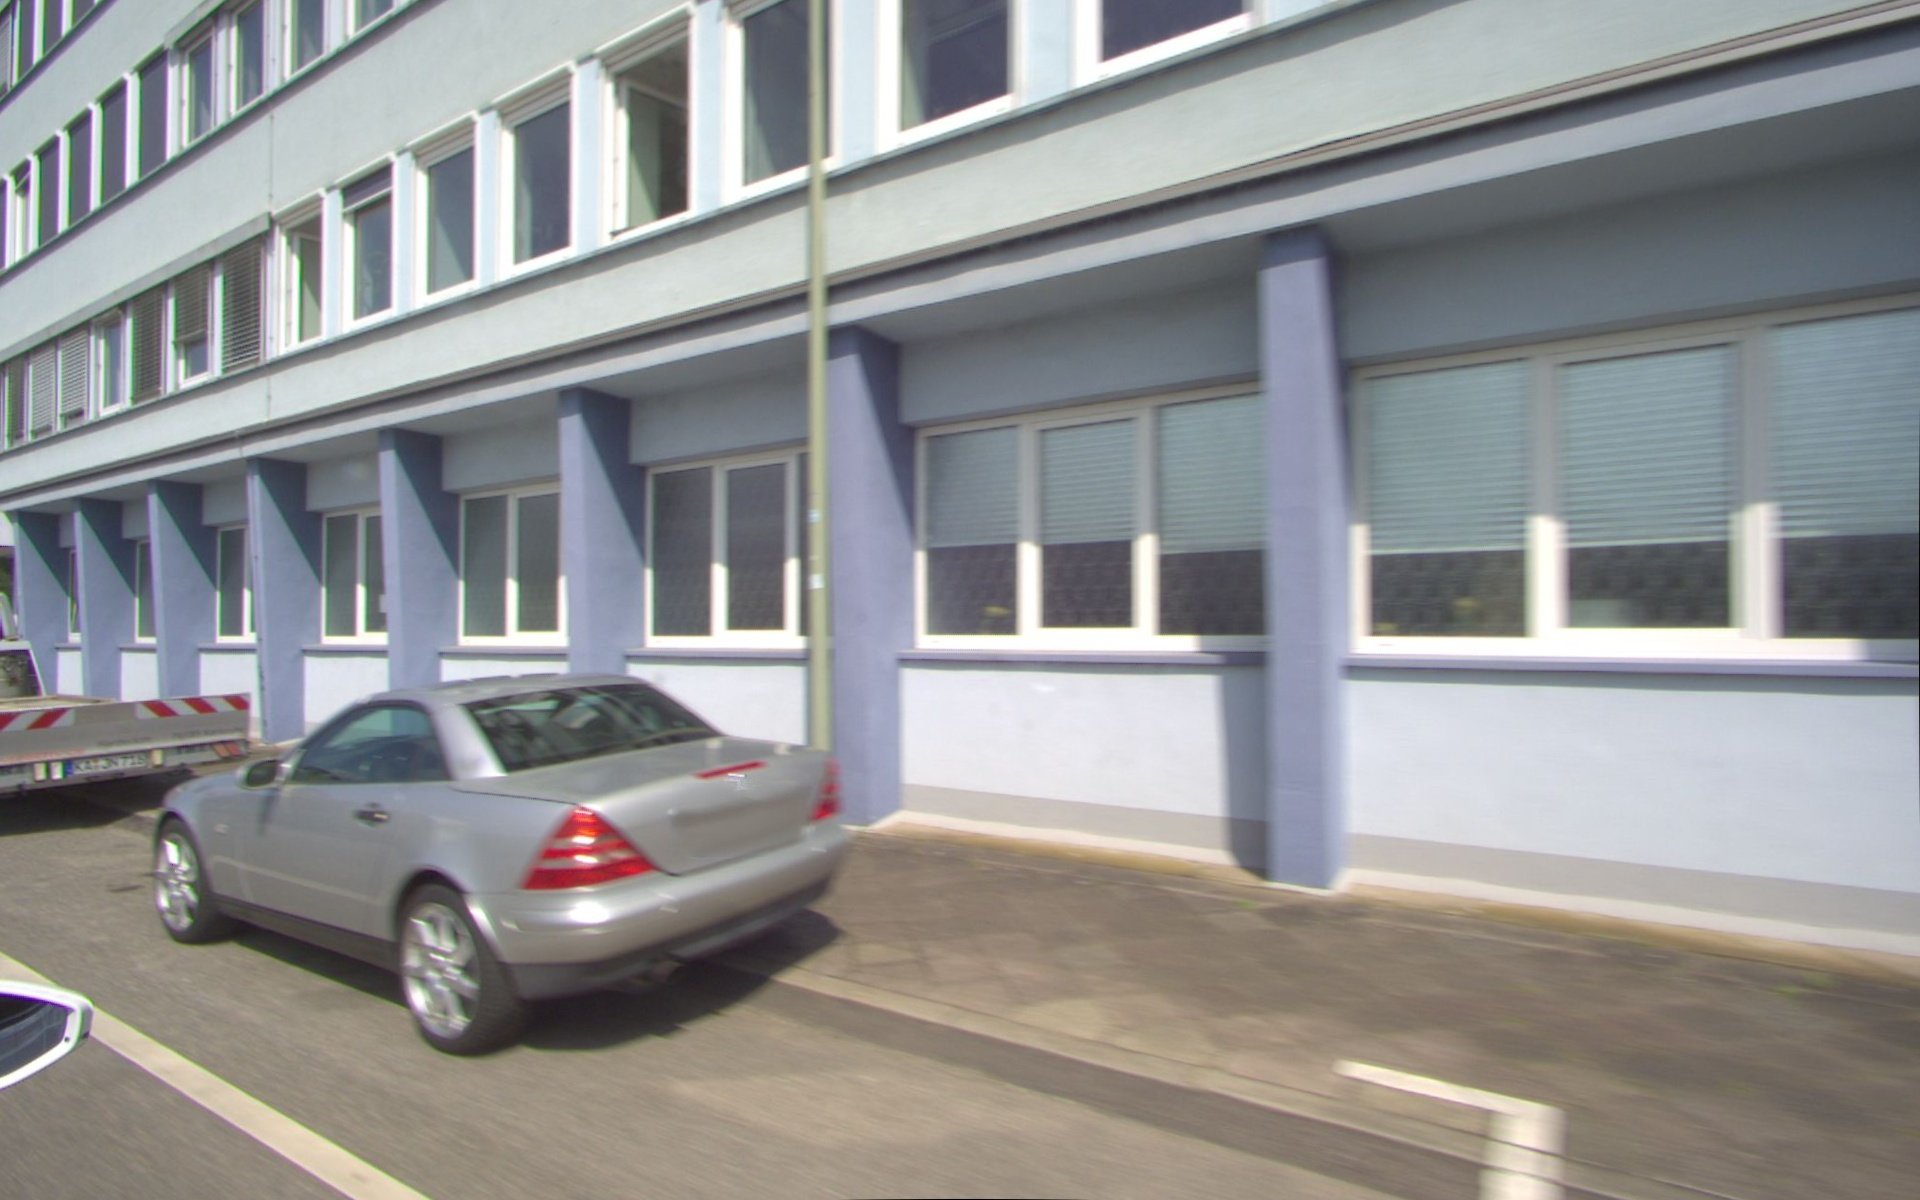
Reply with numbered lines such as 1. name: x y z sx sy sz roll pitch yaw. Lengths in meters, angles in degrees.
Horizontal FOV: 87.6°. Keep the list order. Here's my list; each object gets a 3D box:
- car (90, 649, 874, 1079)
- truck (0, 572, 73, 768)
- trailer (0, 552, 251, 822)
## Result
1. car: -2.487 0.919 4.920 3.943 1.262 1.644 -1 -2 32
2. truck: -12.276 0.760 11.449 4.667 2.061 1.961 -1 -2 32
3. trailer: -9.157 0.699 9.495 5.684 1.996 1.970 -1 -2 32
